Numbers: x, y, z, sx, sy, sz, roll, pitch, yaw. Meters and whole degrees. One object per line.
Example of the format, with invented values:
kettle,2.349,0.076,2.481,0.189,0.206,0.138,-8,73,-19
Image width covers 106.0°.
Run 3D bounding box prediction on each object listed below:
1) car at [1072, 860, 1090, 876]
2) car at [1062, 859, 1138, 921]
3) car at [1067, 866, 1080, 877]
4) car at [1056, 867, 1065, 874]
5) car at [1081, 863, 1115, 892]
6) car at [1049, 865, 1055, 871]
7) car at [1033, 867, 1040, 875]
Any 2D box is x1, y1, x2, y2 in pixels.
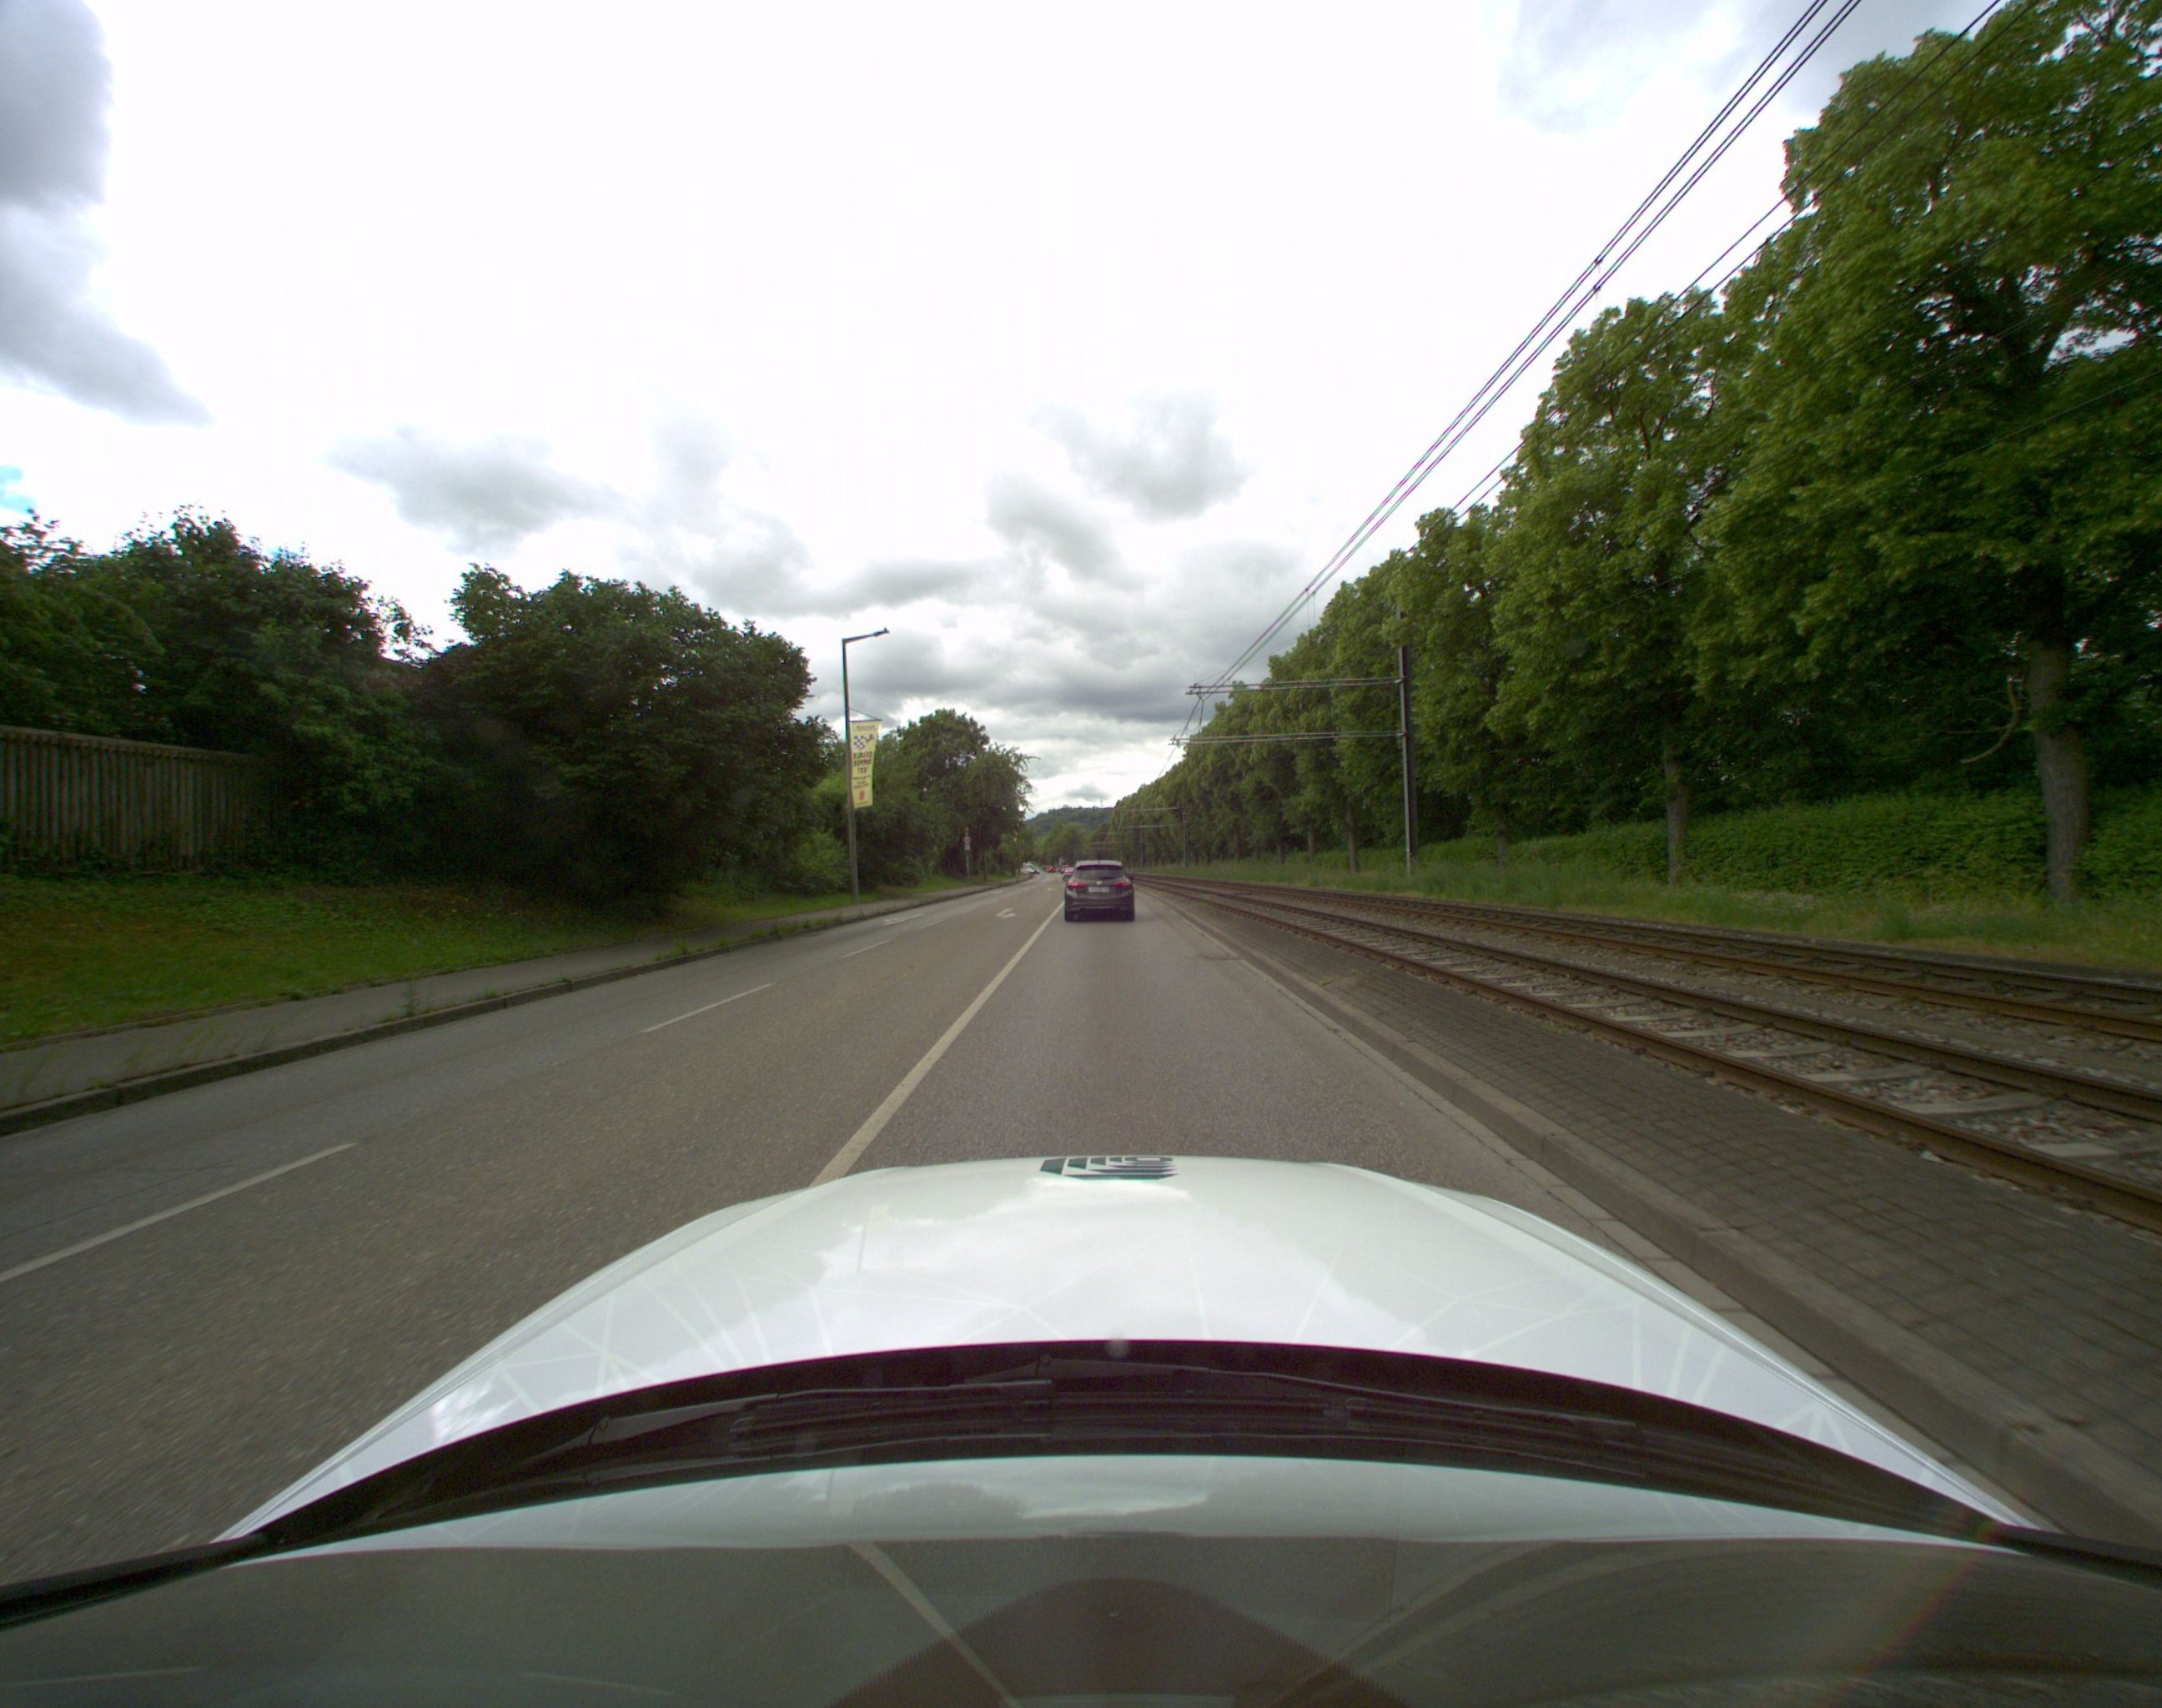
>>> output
car,0.025,1.384,78.202,1.694,1.444,3.999,-1,-1,0
car,0.512,0.874,21.719,1.844,1.493,4.001,0,0,1
car,-1.022,2.341,111.922,1.694,1.444,3.999,-1,-1,0
car,-4.368,3.518,176.778,1.788,1.510,3.999,-1,-1,0
car,0.857,1.220,43.348,1.695,1.444,3.998,-1,-1,-1
car,-8.784,4.342,245.257,1.694,1.714,3.999,-1,-1,0
car,-12.333,4.734,226.656,1.989,2.036,5.111,-2,-1,-2
